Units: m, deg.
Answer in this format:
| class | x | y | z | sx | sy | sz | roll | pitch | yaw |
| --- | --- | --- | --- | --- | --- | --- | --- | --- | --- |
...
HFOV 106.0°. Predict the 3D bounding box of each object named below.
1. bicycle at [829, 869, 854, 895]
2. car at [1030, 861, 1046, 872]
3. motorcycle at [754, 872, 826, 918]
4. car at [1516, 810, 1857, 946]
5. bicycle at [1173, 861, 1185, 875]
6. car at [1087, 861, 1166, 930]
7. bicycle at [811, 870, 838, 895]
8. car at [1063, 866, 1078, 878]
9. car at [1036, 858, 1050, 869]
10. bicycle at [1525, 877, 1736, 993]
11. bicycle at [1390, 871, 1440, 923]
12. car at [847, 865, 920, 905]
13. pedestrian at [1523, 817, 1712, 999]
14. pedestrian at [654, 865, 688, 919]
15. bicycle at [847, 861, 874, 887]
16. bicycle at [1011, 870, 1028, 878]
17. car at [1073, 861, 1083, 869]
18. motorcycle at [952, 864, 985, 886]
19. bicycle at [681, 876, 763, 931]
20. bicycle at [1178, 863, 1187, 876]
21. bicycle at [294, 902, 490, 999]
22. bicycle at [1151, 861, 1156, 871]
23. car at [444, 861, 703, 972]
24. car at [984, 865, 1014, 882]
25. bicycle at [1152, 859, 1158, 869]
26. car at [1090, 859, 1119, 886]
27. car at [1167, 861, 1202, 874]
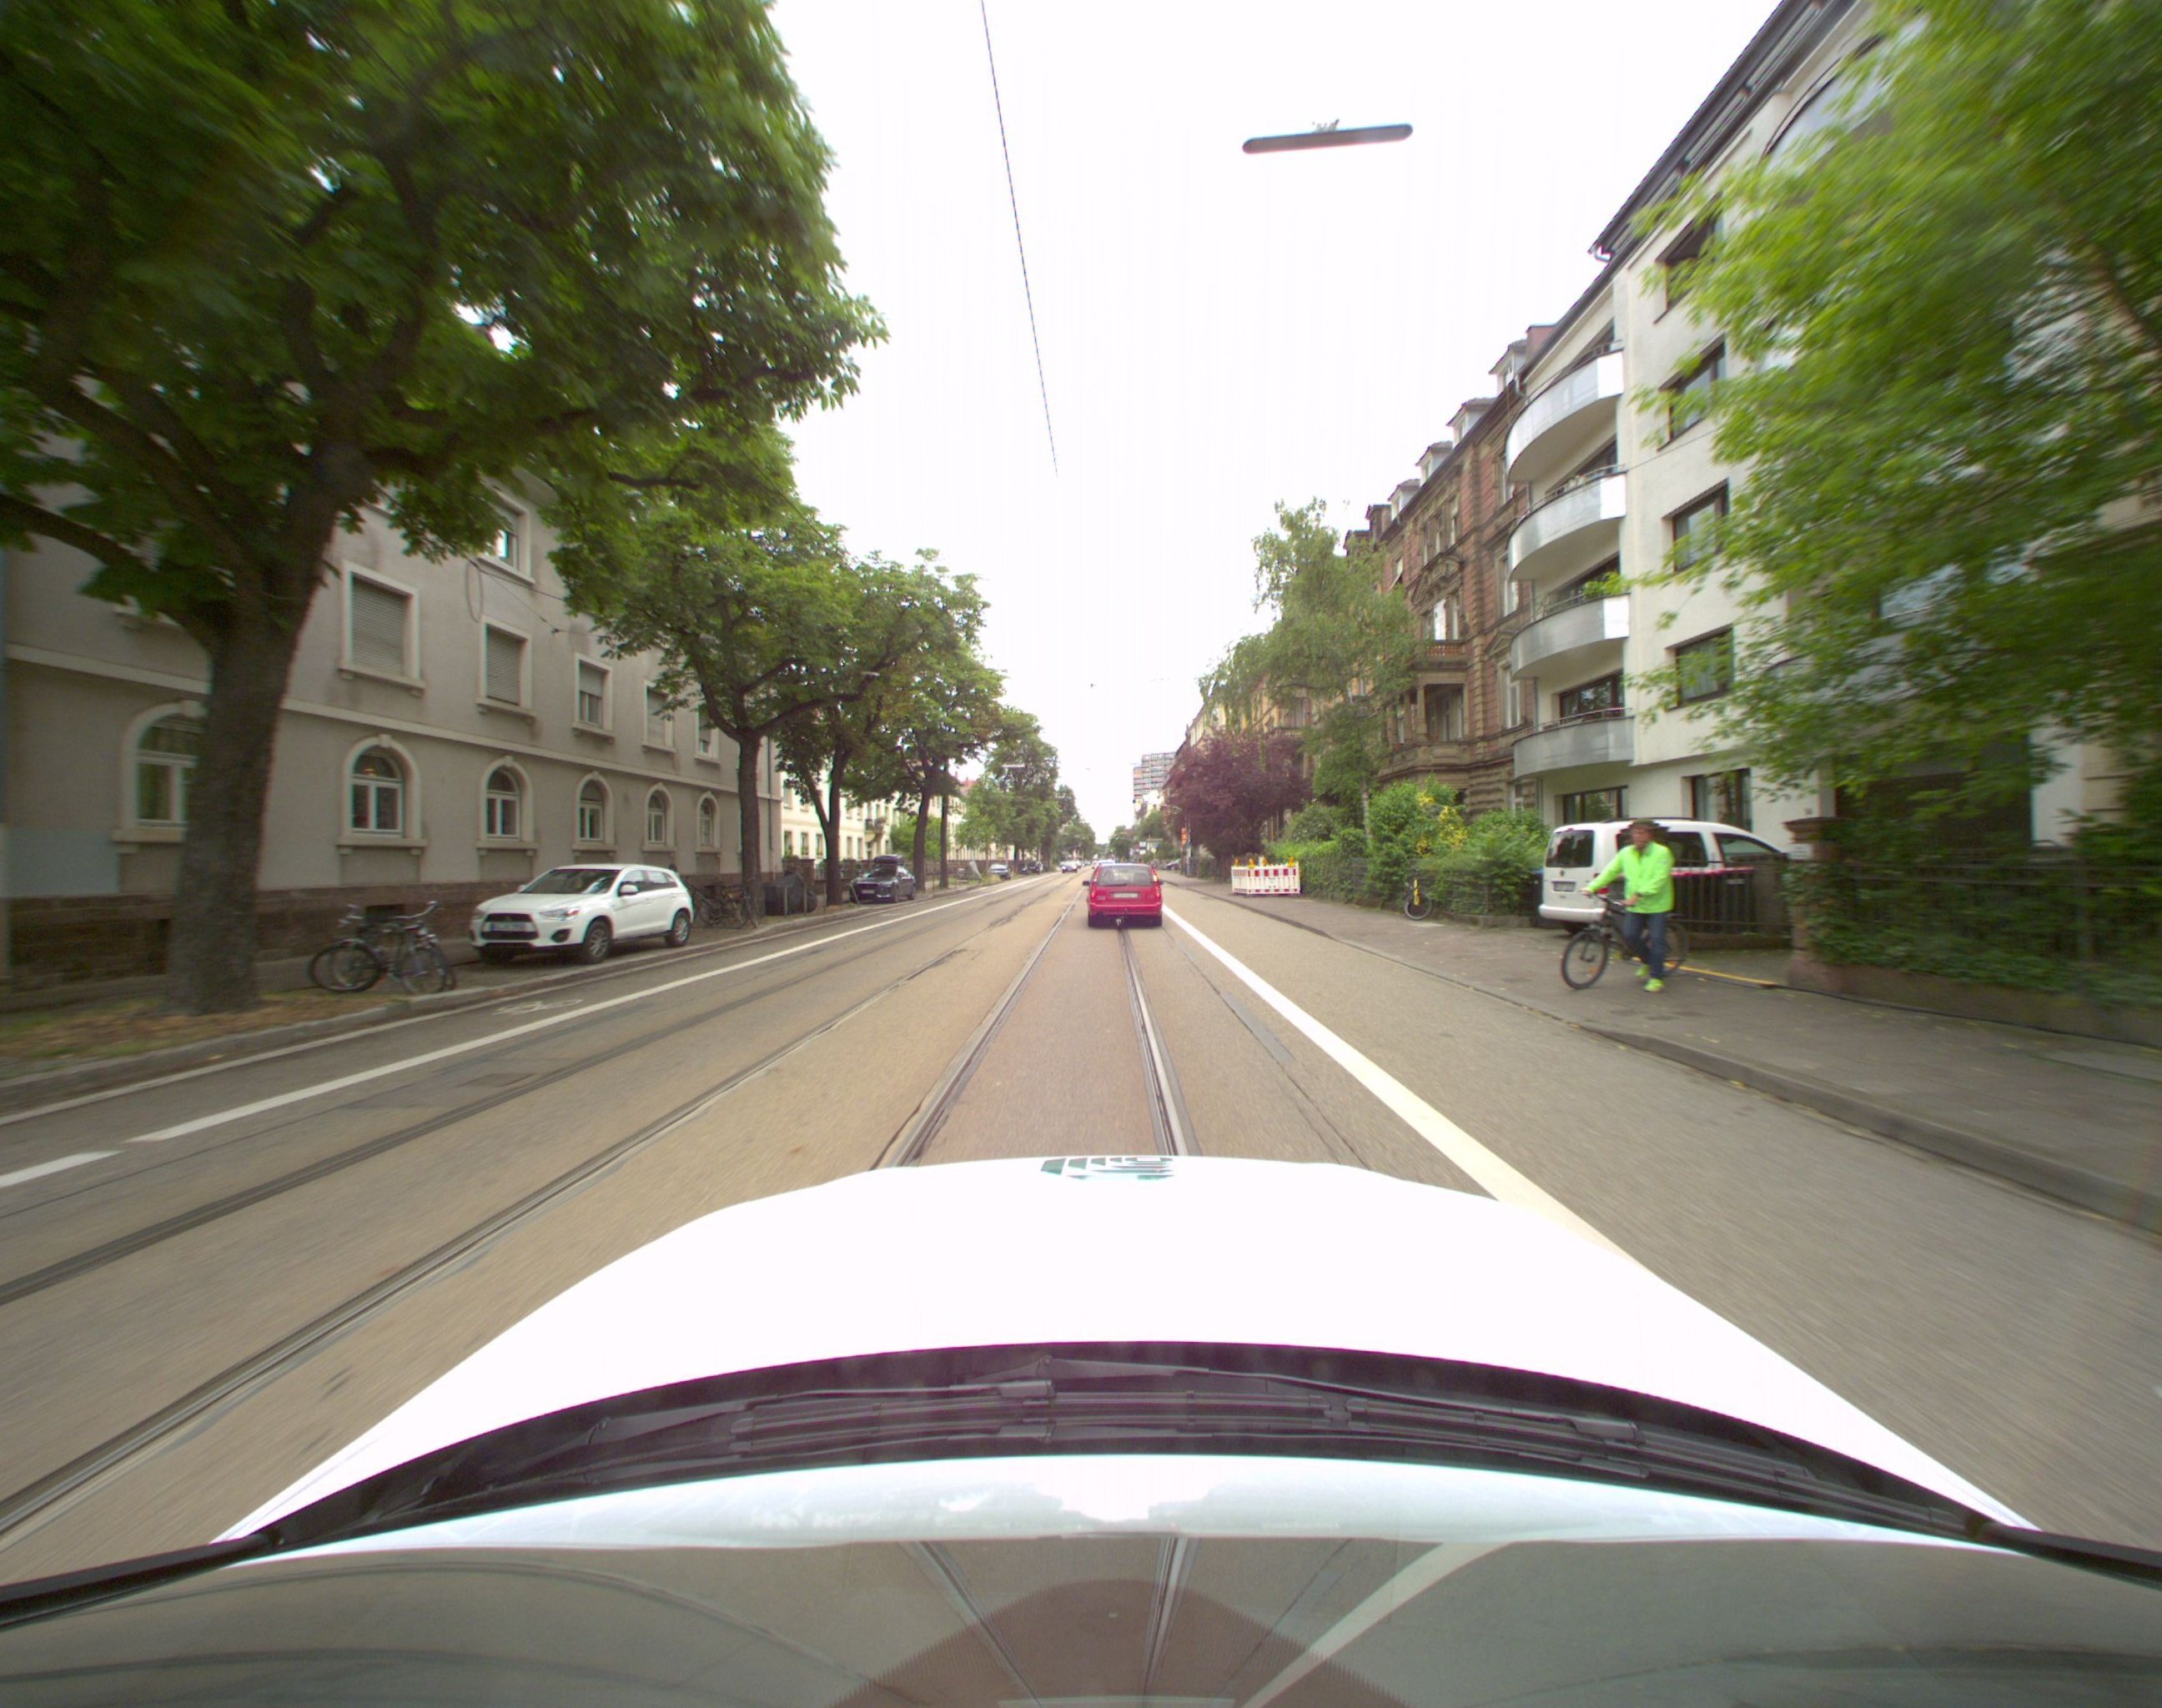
| class | x | y | z | sx | sy | sz | roll | pitch | yaw |
| --- | --- | --- | --- | --- | --- | --- | --- | --- | --- |
| bicycle | -13.087 | 1.506 | 44.509 | 0.625 | 1.382 | 2.142 | -1 | -1 | 2 |
| car | -5.926 | 1.713 | 111.714 | 1.844 | 1.563 | 3.944 | -1 | -1 | 1 |
| motorcycle | -8.718 | 1.199 | 24.519 | 0.857 | 1.288 | 2.331 | -1 | -1 | 15 |
| car | 9.362 | 0.360 | 12.853 | 3.972 | 1.858 | 1.809 | -2 | -1 | 1 |
| bicycle | 11.048 | 1.598 | 91.537 | 0.910 | 1.507 | 2.392 | -1 | -1 | 18 |
| car | 1.012 | 0.898 | 19.154 | 1.683 | 1.441 | 3.744 | 0 | 0 | 1 |
| bicycle | -13.997 | 1.555 | 44.460 | 0.745 | 1.298 | 2.141 | -1 | -1 | 0 |
| car | -1.284 | 2.222 | 99.630 | 1.749 | 1.380 | 4.027 | -1 | -1 | 1 |
| car | -5.603 | 1.426 | 119.110 | 1.707 | 1.580 | 4.001 | 0 | 0 | 2 |
| bicycle | 6.004 | 0.871 | 8.954 | 1.835 | 1.076 | 0.606 | -5 | -1 | 0 |
| bicycle | 7.125 | 0.899 | 17.437 | 0.477 | 1.045 | 1.532 | -1 | -1 | 2 |
| car | -8.006 | 1.216 | 33.352 | 1.770 | 1.511 | 4.240 | 0 | 0 | 2 |
| pedestrian | 5.685 | 0.546 | 8.722 | 1.224 | 1.732 | 1.018 | -5 | -1 | 0 |
| pedestrian | -11.455 | 1.058 | 22.763 | 0.562 | 1.467 | 0.723 | -1 | -1 | 2 |
| bicycle | -12.099 | 1.080 | 44.760 | 0.789 | 1.382 | 2.142 | -1 | -1 | 2 |
| bicycle | -6.452 | 2.076 | 85.444 | 1.742 | 0.844 | 0.684 | -1 | -1 | 2 |
| car | -0.549 | 2.070 | 154.784 | 1.887 | 1.611 | 4.501 | -1 | -1 | 1 |
| motorcycle | -7.629 | 1.437 | 55.169 | 2.243 | 1.511 | 0.932 | -2 | -3 | 36 |
| bicycle | -8.676 | 1.174 | 19.683 | 1.730 | 1.192 | 0.655 | 1 | 5 | 15 |
| bicycle | 8.186 | 1.209 | 65.639 | 0.521 | 1.030 | 2.177 | -2 | -1 | 1 |
| bicycle | -8.618 | 1.193 | 10.233 | 1.915 | 1.121 | 0.624 | 1 | -1 | 1 |
| bicycle | 9.911 | 1.662 | 110.808 | 0.549 | 1.400 | 1.734 | -1 | -1 | 2 |
| car | -8.659 | 0.961 | 14.438 | 1.891 | 1.655 | 4.225 | -1 | 0 | 0 |
| car | -7.027 | 1.668 | 70.221 | 1.882 | 1.398 | 4.419 | -1 | -1 | 3 |
| bicycle | 9.755 | 1.319 | 107.172 | 0.705 | 1.300 | 1.905 | -1 | -1 | 2 |
| car | 1.567 | 1.178 | 53.005 | 1.711 | 1.625 | 3.944 | -1 | -1 | 3 |
| car | 12.167 | 1.582 | 95.821 | 3.961 | 1.361 | 1.898 | -1 | -1 | 11 |
